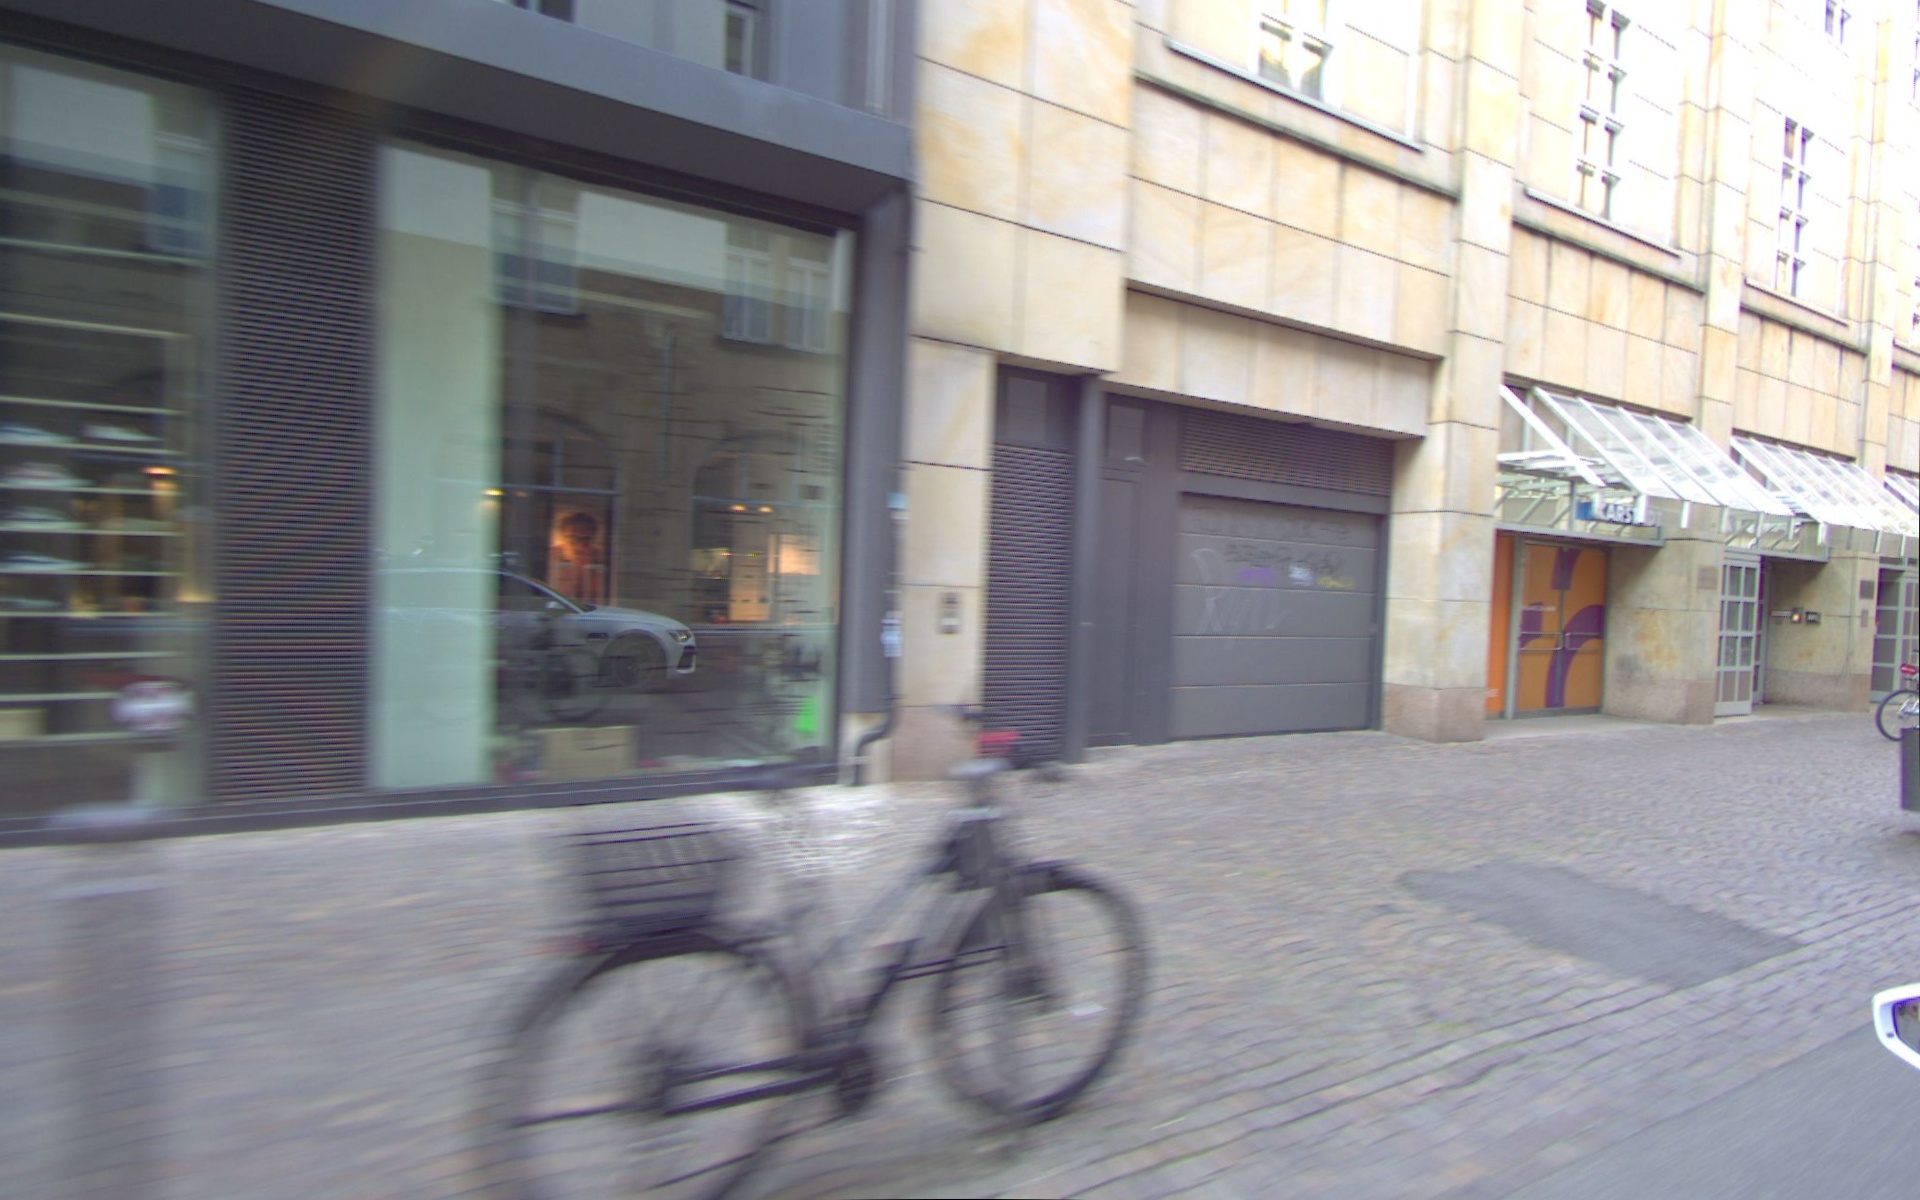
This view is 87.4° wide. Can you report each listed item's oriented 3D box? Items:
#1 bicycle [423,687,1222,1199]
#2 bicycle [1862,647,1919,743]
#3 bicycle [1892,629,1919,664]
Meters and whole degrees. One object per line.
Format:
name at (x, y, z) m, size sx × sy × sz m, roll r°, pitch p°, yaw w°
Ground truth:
bicycle at (-0.192, 0.832, 2.428) m, size 1.911 × 1.147 × 0.407 m, roll 1°, pitch 2°, yaw -35°
bicycle at (12.412, 1.184, 12.679) m, size 1.748 × 1.127 × 0.693 m, roll 2°, pitch 1°, yaw -16°
bicycle at (34.801, 1.711, 36.064) m, size 1.892 × 1.198 × 0.692 m, roll 3°, pitch 1°, yaw 43°
